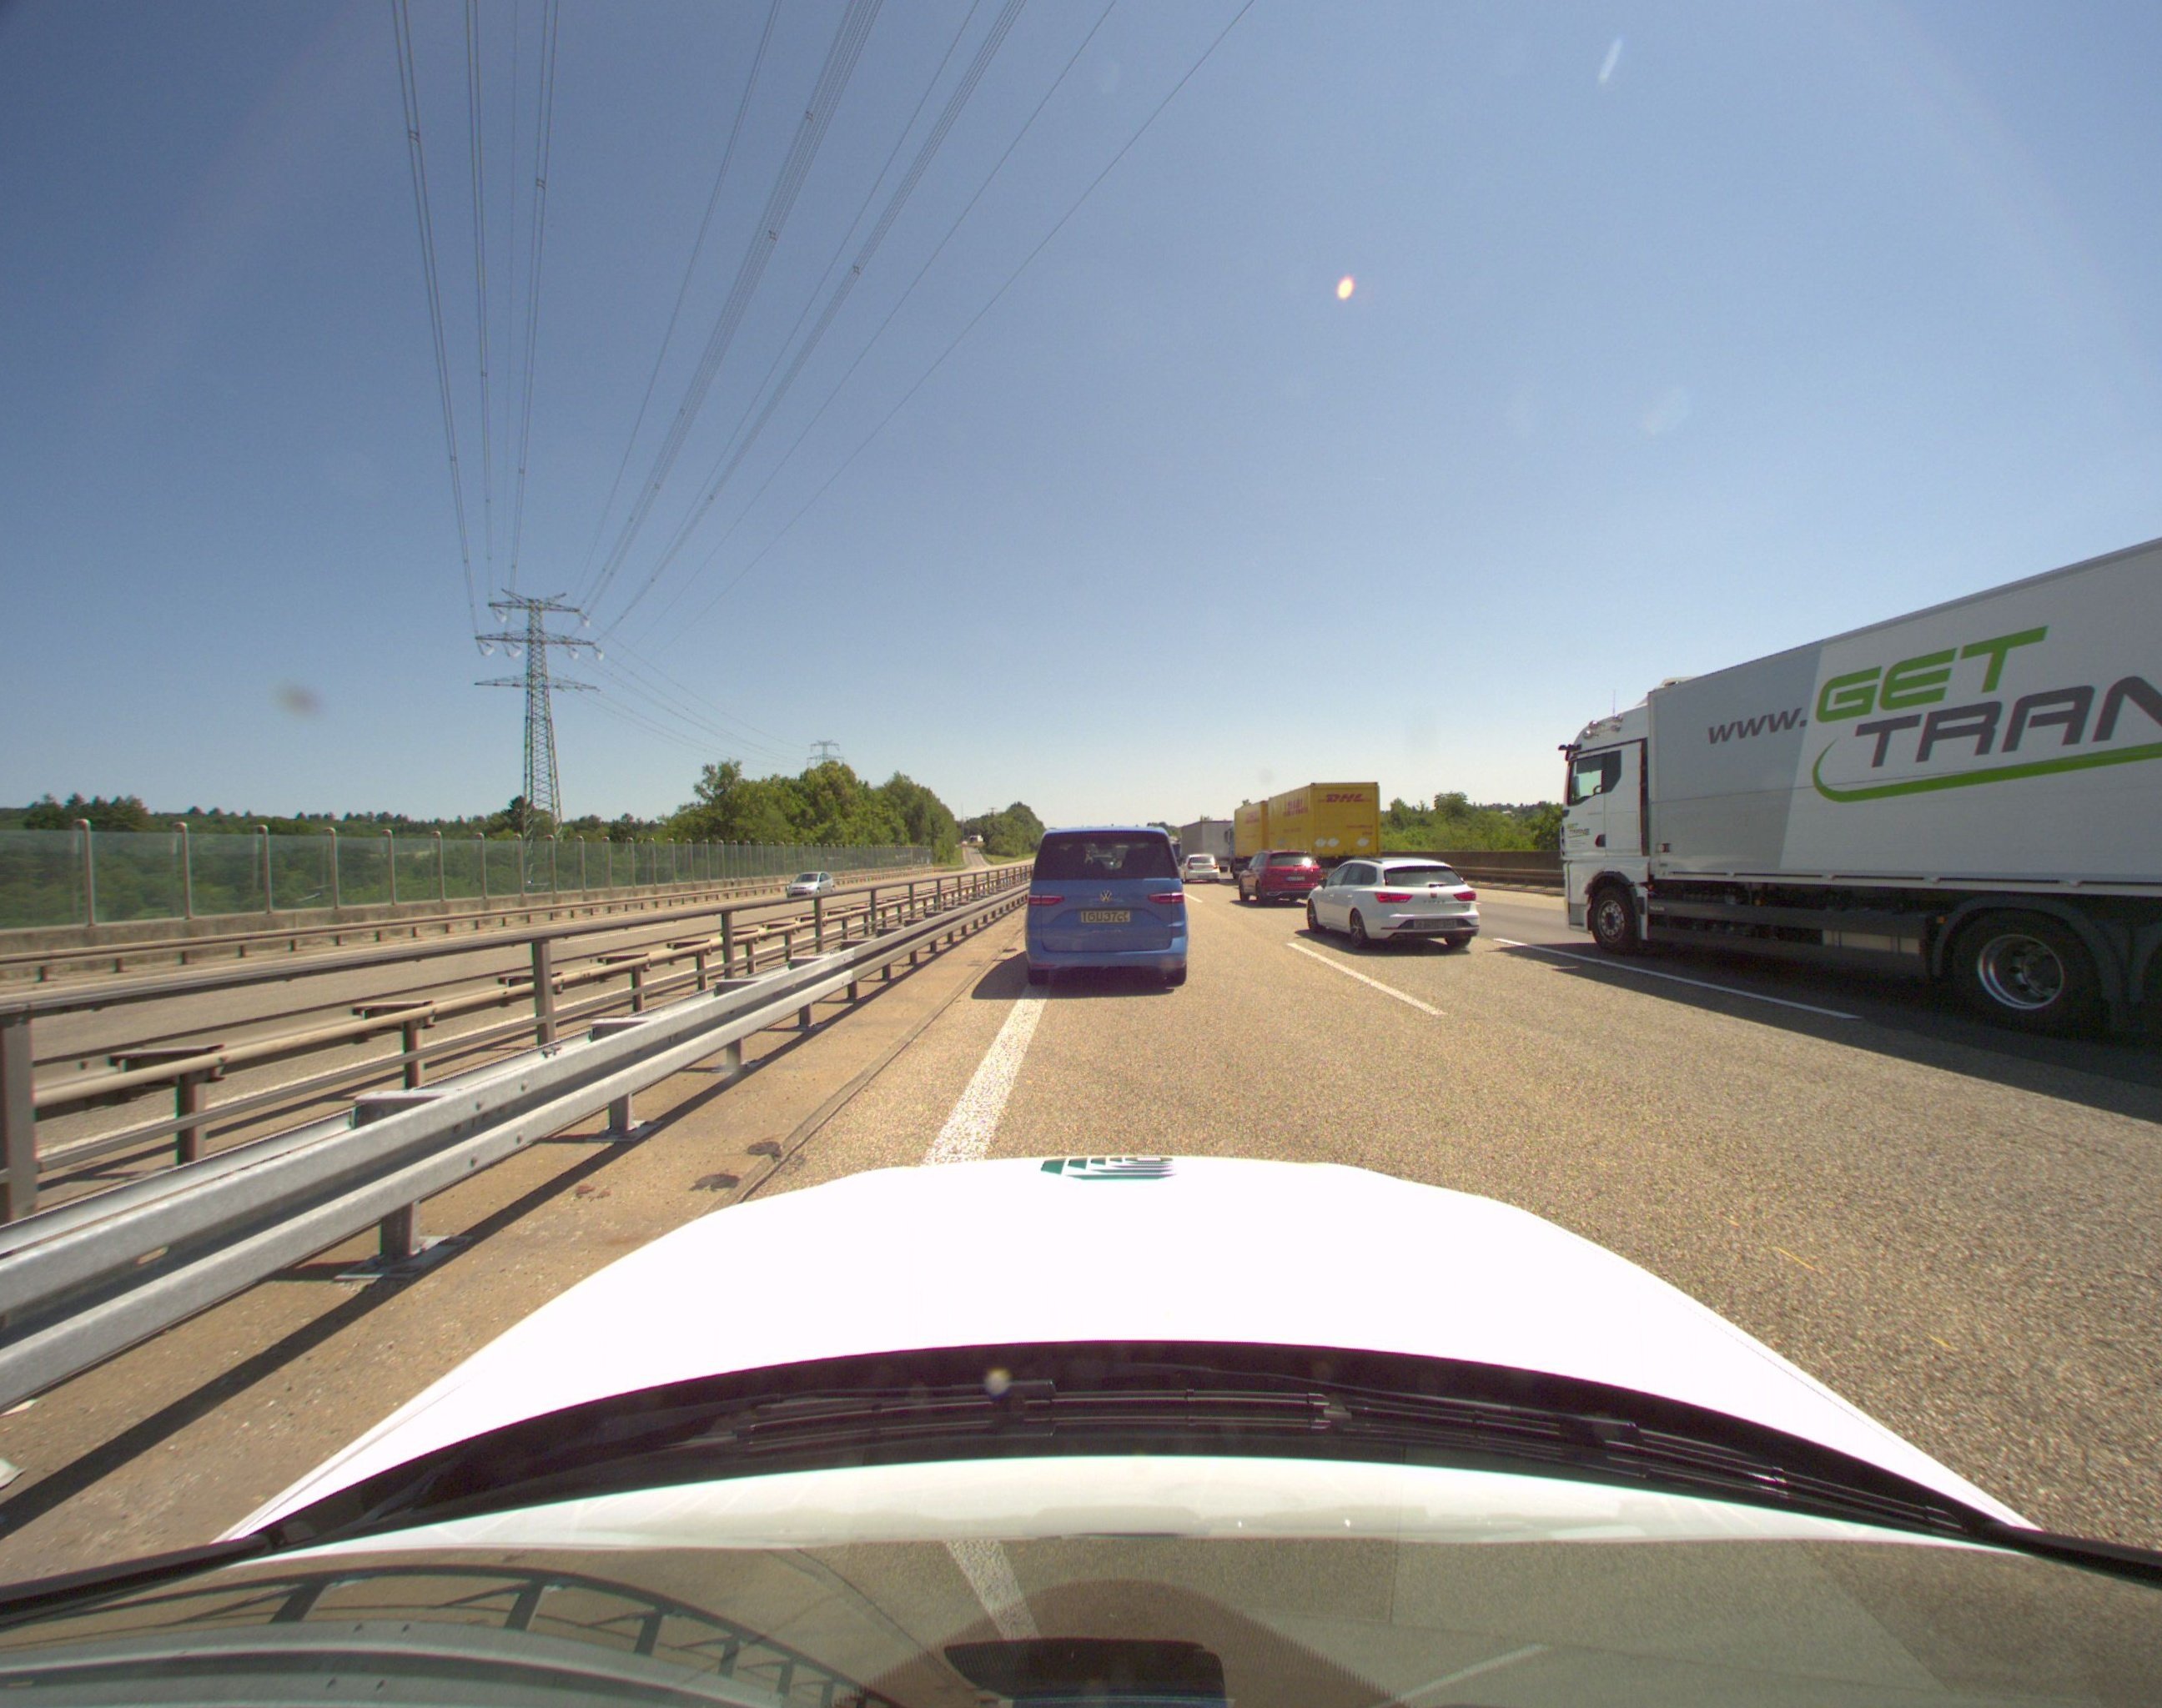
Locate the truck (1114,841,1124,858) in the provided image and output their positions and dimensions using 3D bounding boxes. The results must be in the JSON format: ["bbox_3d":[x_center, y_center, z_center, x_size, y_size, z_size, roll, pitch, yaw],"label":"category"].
[{"bbox_3d":[12.137,-1.305,262.361,2.824,5.373,12.553,0,-1,0],"label":"truck"}]

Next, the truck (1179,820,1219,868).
[{"bbox_3d":[10.530,-0.833,73.429,2.758,4.095,6.985,0,-1,1],"label":"truck"}]

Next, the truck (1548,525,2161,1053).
[{"bbox_3d":[8.866,-0.429,7.834,2.840,3.603,10.772,0,-1,2],"label":"truck"}]

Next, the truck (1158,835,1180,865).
[{"bbox_3d":[11.182,-0.512,103.915,2.359,3.722,6.034,0,-1,1],"label":"truck"}]

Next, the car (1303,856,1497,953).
[{"bbox_3d":[5.194,0.738,13.912,1.774,1.387,4.189,-1,0,2],"label":"car"}]

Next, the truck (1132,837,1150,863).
[{"bbox_3d":[12.138,-0.790,164.913,2.824,5.040,11.144,0,-1,0],"label":"truck"}]

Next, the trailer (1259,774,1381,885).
[{"bbox_3d":[9.638,-0.837,33.983,2.691,4.023,8.933,0,-1,2],"label":"trailer"}]

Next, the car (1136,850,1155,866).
[{"bbox_3d":[6.690,0.416,84.481,1.709,1.540,3.822,-3,0,2],"label":"car"}]

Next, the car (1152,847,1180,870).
[{"bbox_3d":[6.262,0.352,60.319,1.709,1.587,3.822,-3,0,2],"label":"car"}]

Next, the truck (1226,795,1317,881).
[{"bbox_3d":[9.914,-0.696,43.630,2.712,4.055,10.339,0,-1,2],"label":"truck"}]

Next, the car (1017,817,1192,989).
[{"bbox_3d":[0.313,0.540,10.869,1.875,1.837,4.001,-1,0,2],"label":"car"}]

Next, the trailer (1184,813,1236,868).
[{"bbox_3d":[10.369,-0.931,66.726,2.745,4.146,11.315,0,-1,2],"label":"trailer"}]

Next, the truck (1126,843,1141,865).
[{"bbox_3d":[12.316,0.036,192.199,2.824,5.040,11.815,0,-1,0],"label":"truck"}]

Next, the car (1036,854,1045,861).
[{"bbox_3d":[-9.454,0.835,191.612,1.774,1.569,4.388,-4,0,1],"label":"car"}]

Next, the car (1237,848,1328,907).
[{"bbox_3d":[5.967,0.647,24.594,1.844,1.608,4.001,-1,0,2],"label":"car"}]

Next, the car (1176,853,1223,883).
[{"bbox_3d":[6.107,0.705,42.367,1.832,1.414,3.999,-1,0,0],"label":"car"}]

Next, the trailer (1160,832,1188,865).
[{"bbox_3d":[11.050,-0.586,97.825,2.371,3.744,11.190,0,-1,1],"label":"trailer"}]

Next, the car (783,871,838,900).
[{"bbox_3d":[-14.919,1.712,45.086,1.598,1.394,3.678,-4,0,2],"label":"car"}]

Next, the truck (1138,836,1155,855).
[{"bbox_3d":[11.658,-1.510,145.493,2.348,3.218,9.739,0,-1,0],"label":"truck"}]
